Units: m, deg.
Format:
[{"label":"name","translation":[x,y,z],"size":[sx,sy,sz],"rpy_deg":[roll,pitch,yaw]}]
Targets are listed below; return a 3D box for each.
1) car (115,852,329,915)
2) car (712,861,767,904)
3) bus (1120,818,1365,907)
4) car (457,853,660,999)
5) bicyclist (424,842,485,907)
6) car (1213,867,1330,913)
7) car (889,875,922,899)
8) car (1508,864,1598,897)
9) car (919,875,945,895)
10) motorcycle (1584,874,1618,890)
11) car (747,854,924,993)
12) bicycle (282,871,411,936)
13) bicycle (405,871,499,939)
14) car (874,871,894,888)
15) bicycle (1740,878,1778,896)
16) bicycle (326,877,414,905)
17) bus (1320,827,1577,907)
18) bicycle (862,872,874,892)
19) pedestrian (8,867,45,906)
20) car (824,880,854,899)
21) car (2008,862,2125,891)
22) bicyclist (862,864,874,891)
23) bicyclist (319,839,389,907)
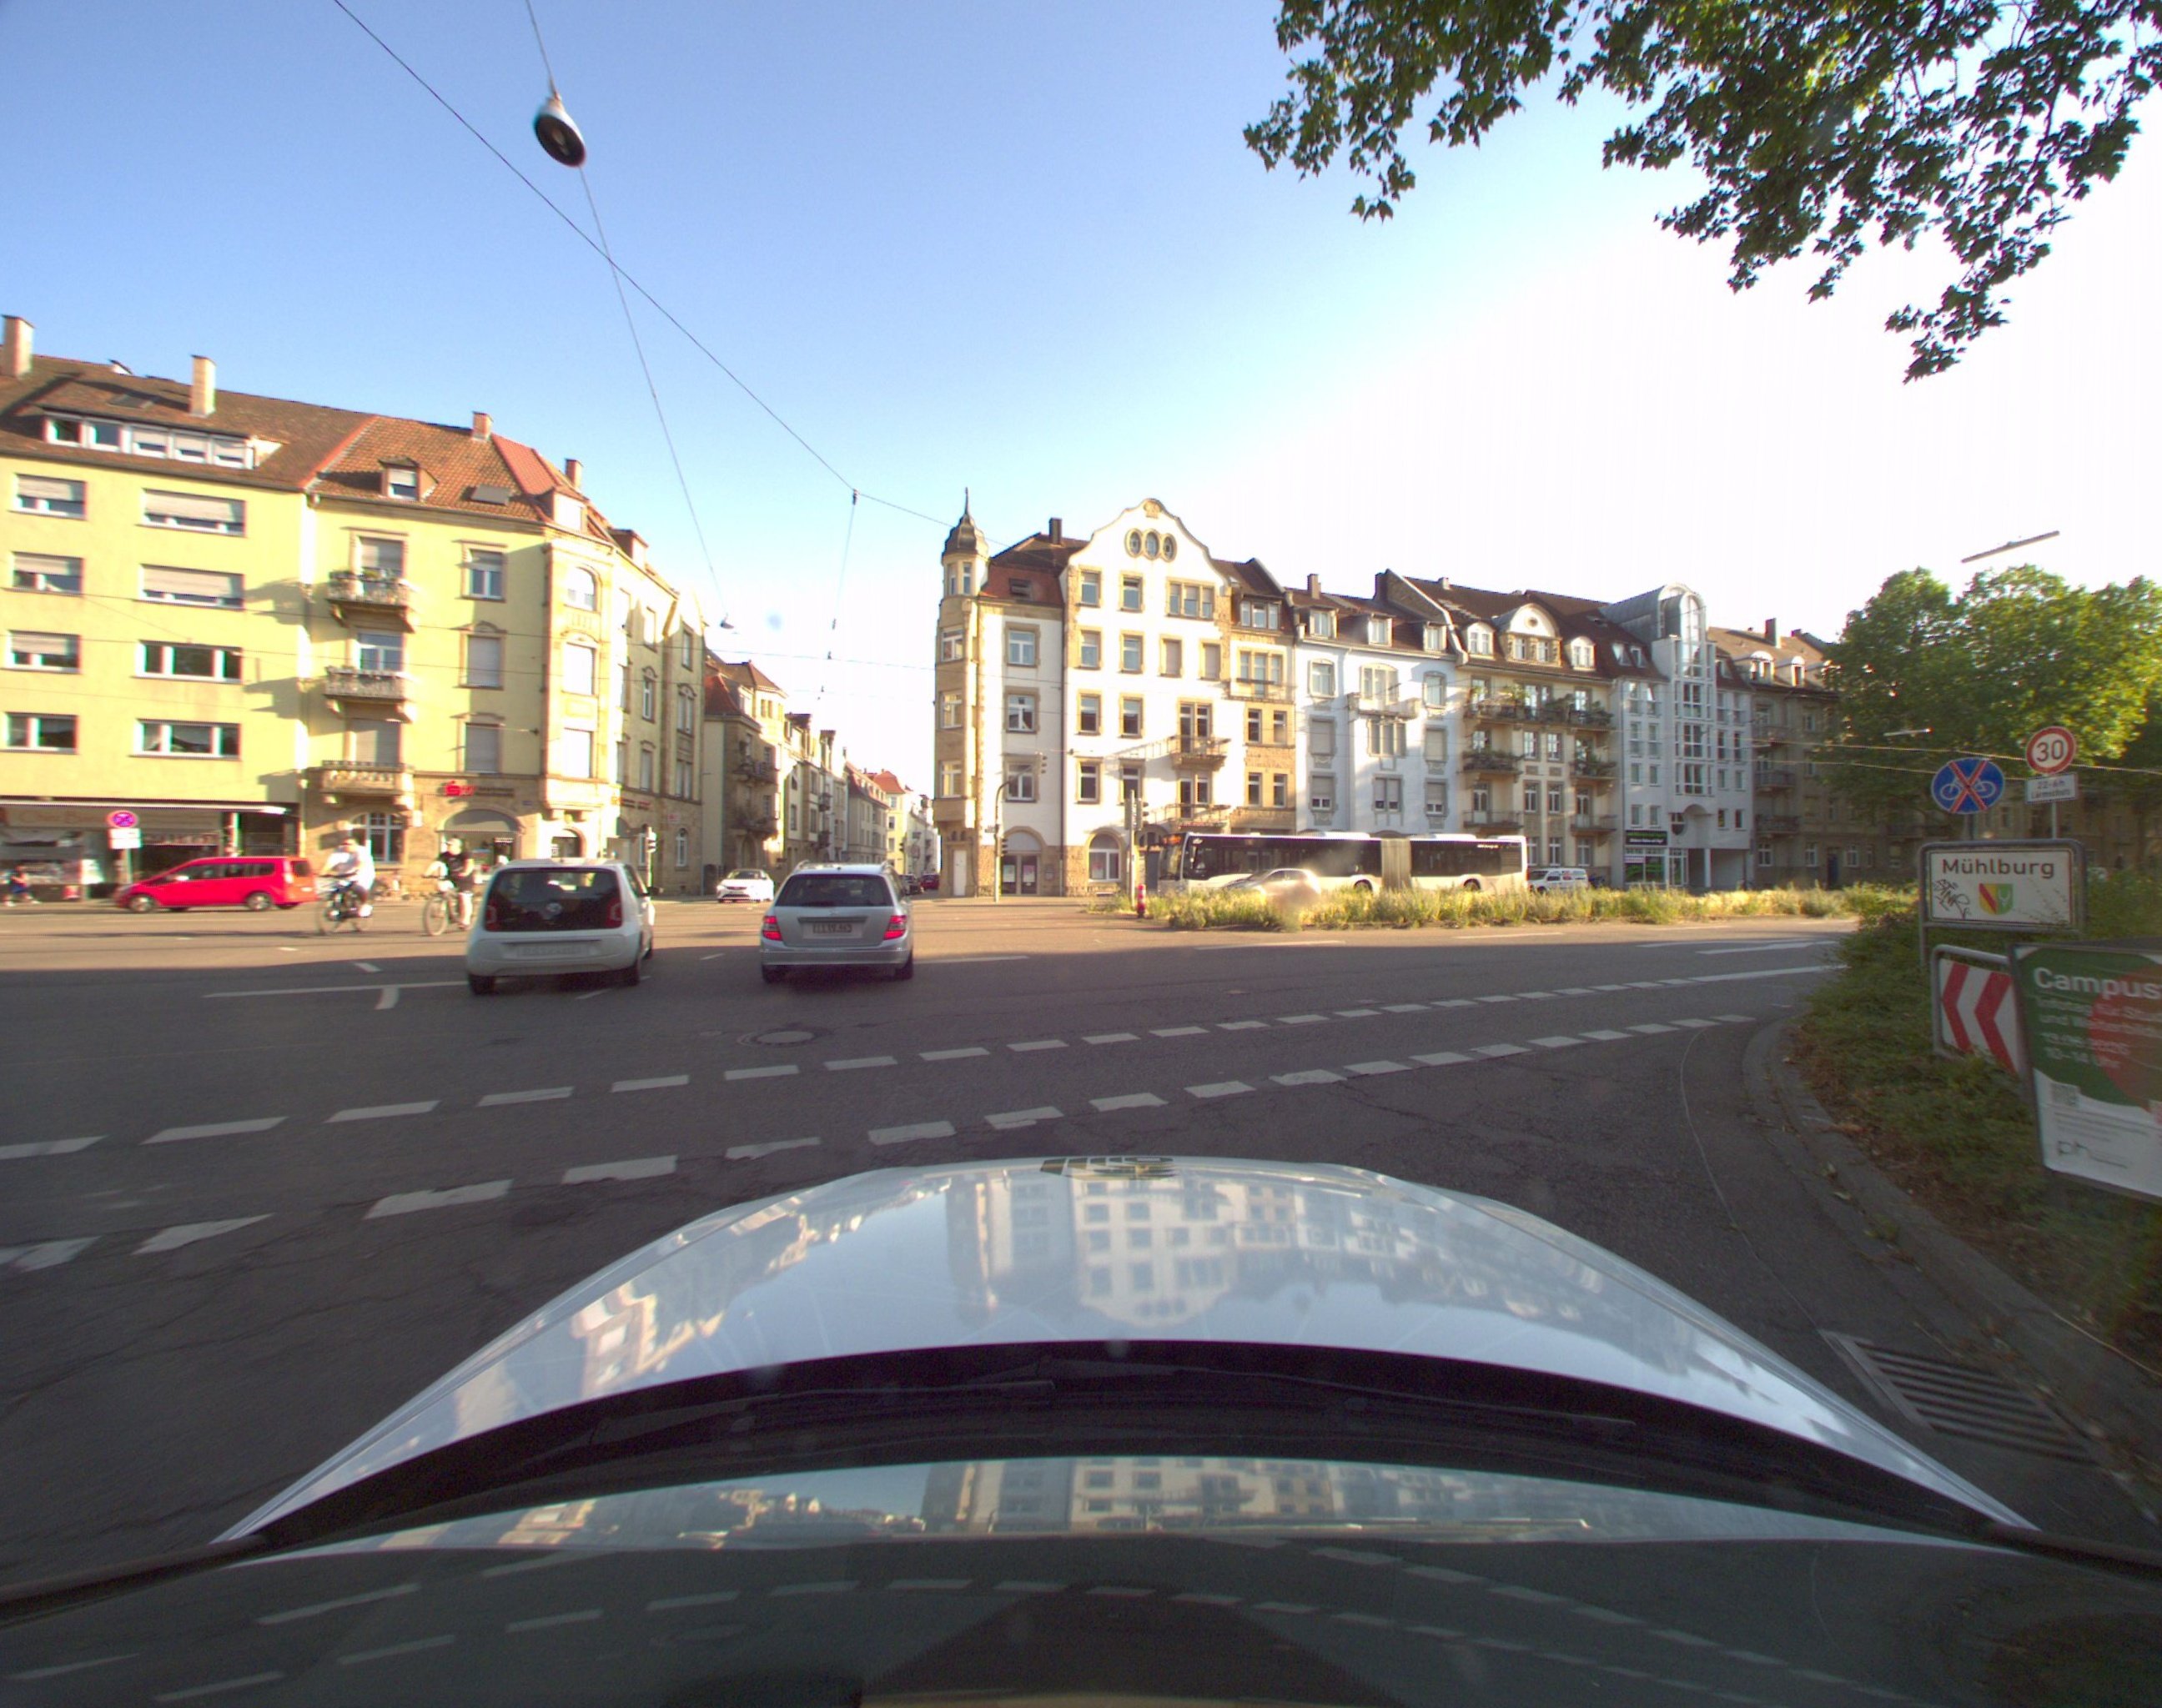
[{"label":"car","translation":[-27.776,0.968,26.537],"size":[4.311,1.900,1.907],"rpy_deg":[1,-2,-21]},{"label":"car","translation":[-14.503,1.172,34.469],"size":[1.840,1.706,3.964],"rpy_deg":[2,-2,-27]},{"label":"bus","translation":[6.831,0.463,34.311],"size":[9.896,3.374,3.255],"rpy_deg":[1,-2,-19]},{"label":"car","translation":[-6.371,0.779,10.337],"size":[1.741,1.480,3.780],"rpy_deg":[2,-2,-27]},{"label":"bicyclist","translation":[-11.612,0.382,15.126],"size":[0.611,1.158,0.763],"rpy_deg":[1,-2,-15]},{"label":"car","translation":[7.309,1.377,31.402],"size":[3.995,1.684,1.926],"rpy_deg":[1,-2,-16]},{"label":"car","translation":[-12.337,2.288,57.427],"size":[1.827,1.615,3.991],"rpy_deg":[1,-2,-6]},{"label":"car","translation":[27.255,1.543,47.063],"size":[4.649,1.787,1.899],"rpy_deg":[1,-2,-17]},{"label":"car","translation":[-13.429,2.757,73.517],"size":[1.826,1.706,3.994],"rpy_deg":[1,-2,-4]},{"label":"motorcycle","translation":[34.049,1.833,53.326],"size":[2.420,1.021,0.526],"rpy_deg":[1,1,-20]},{"label":"car","translation":[-3.046,0.755,10.897],"size":[1.732,1.477,4.158],"rpy_deg":[1,0,-10]},{"label":"bicycle","translation":[-13.631,0.881,15.228],"size":[0.652,1.105,2.539],"rpy_deg":[1,-2,-15]},{"label":"bicycle","translation":[-11.612,0.908,15.109],"size":[0.652,1.105,1.915],"rpy_deg":[1,0,-15]},{"label":"car","translation":[-21.084,2.710,87.285],"size":[1.830,1.746,3.986],"rpy_deg":[1,-2,-10]},{"label":"bicycle","translation":[44.333,2.144,53.237],"size":[1.886,1.032,0.758],"rpy_deg":[1,4,-5]},{"label":"bicycle","translation":[-27.867,1.431,31.958],"size":[2.505,1.056,0.662],"rpy_deg":[0,-1,-22]},{"label":"bus","translation":[17.204,0.714,37.969],"size":[11.973,3.374,3.244],"rpy_deg":[1,-2,-19]},{"label":"bicycle","translation":[-12.032,1.569,46.030],"size":[0.620,1.105,2.539],"rpy_deg":[1,-2,-15]},{"label":"pedestrian","translation":[-36.587,1.118,28.260],"size":[0.555,1.362,0.550],"rpy_deg":[1,-1,-19]},{"label":"car","translation":[-21.376,3.098,72.082],"size":[1.827,1.615,3.992],"rpy_deg":[1,-2,-5]},{"label":"car","translation":[72.672,1.673,60.181],"size":[5.180,2.066,1.732],"rpy_deg":[-1,-2,29]},{"label":"bicyclist","translation":[-12.015,1.319,45.976],"size":[0.611,1.494,0.763],"rpy_deg":[1,-2,-15]},{"label":"bicyclist","translation":[-13.634,0.363,15.290],"size":[0.660,1.236,0.763],"rpy_deg":[1,-2,-15]}]
